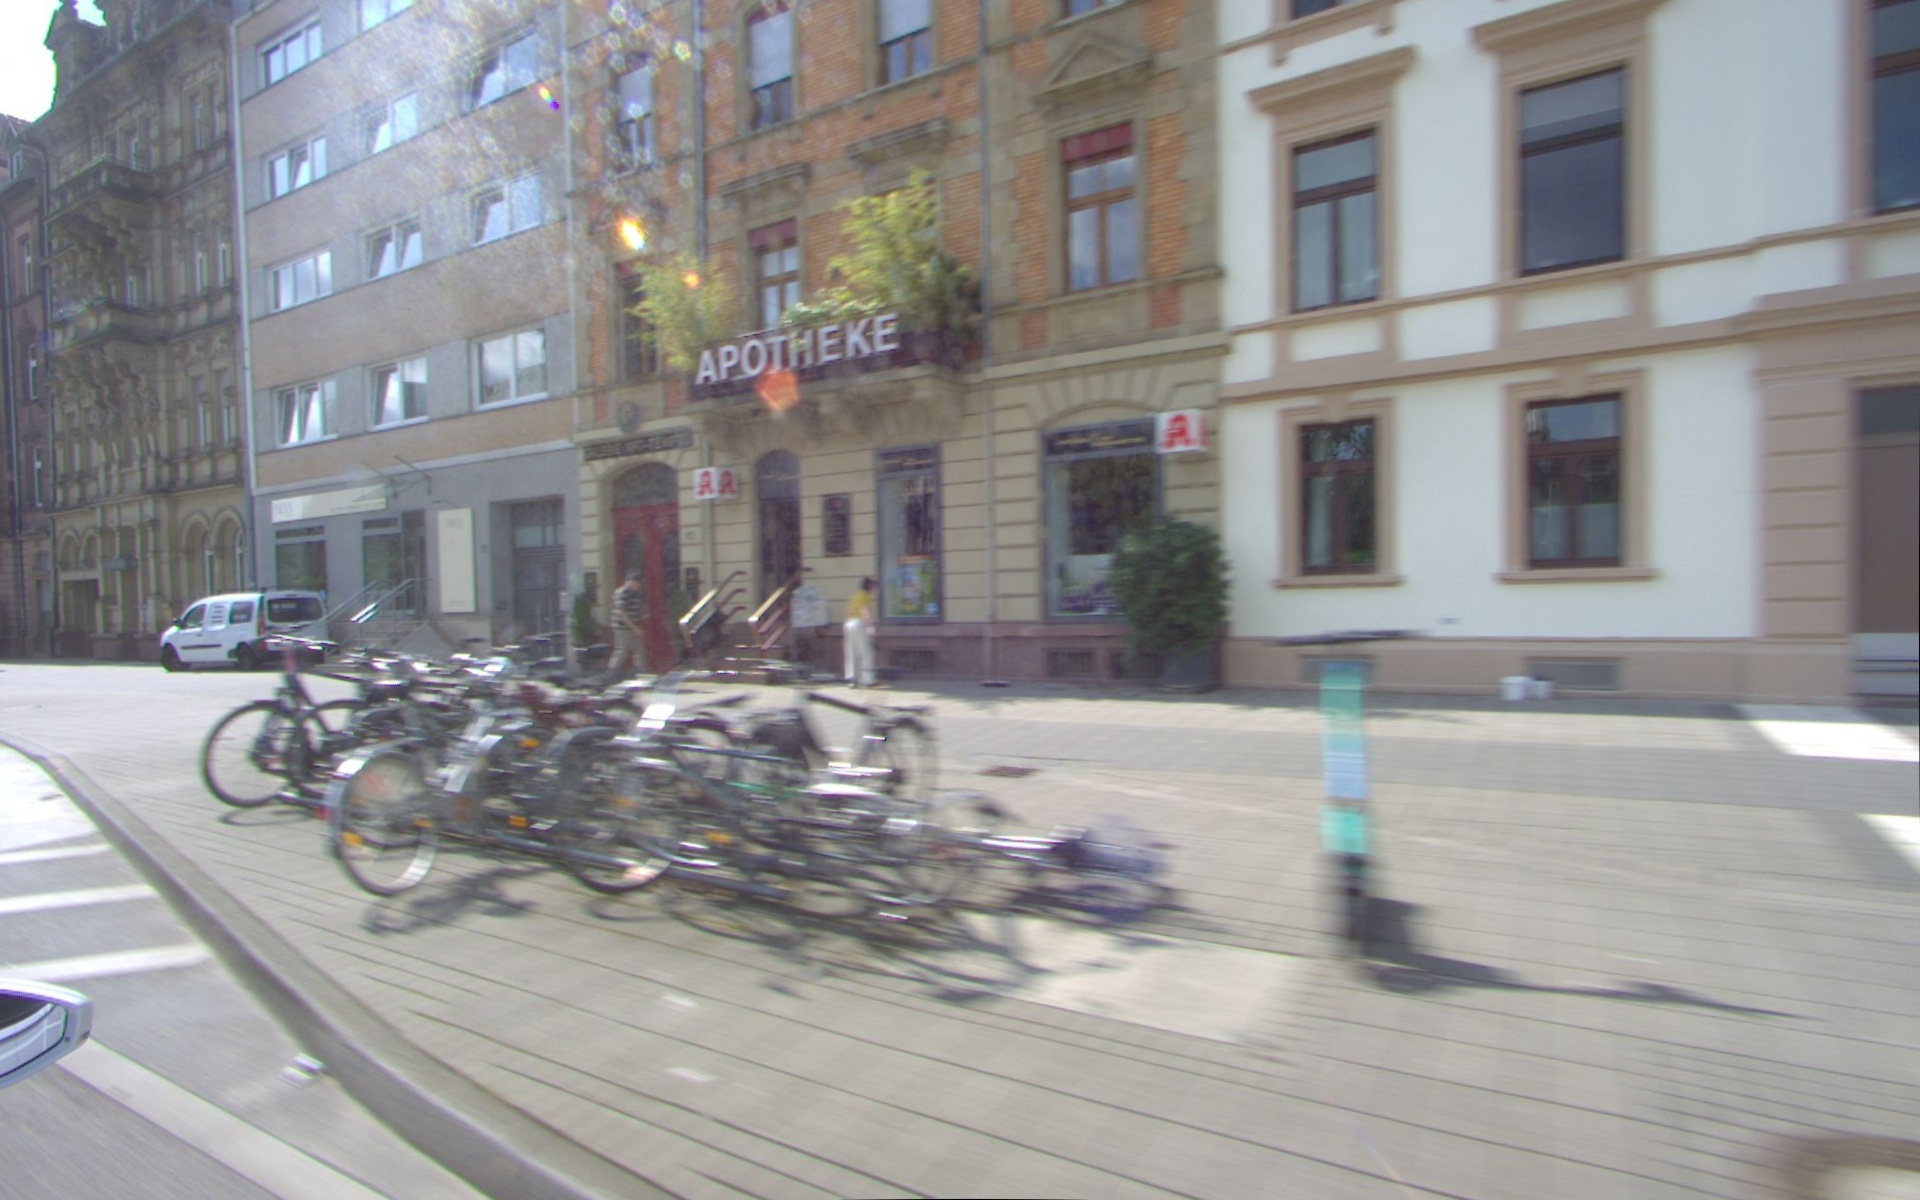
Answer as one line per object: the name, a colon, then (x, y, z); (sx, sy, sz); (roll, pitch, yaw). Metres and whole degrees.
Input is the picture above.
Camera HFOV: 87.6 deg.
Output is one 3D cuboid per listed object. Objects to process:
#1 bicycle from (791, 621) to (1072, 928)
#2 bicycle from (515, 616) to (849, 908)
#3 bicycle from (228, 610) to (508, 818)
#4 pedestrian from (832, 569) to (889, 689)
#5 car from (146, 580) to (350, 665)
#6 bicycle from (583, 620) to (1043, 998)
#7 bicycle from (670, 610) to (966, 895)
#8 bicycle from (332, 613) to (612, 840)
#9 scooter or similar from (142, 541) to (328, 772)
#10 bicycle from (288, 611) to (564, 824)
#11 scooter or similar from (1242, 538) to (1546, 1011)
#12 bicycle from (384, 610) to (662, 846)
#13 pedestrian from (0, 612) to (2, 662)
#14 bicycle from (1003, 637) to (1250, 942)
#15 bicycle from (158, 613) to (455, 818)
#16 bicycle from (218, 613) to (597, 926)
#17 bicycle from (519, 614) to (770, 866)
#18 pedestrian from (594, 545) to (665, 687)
bicycle: (-0.057, 0.769, 5.205); (0.435, 1.254, 1.919); (2, 2, 33)
bicycle: (-1.381, 0.737, 5.376); (0.435, 1.254, 1.919); (2, 2, 33)
bicycle: (-4.179, 0.728, 7.271); (0.433, 1.254, 1.926); (2, 2, 19)
pedestrian: (-1.477, 0.412, 14.869); (0.603, 1.721, 0.577); (2, 2, 32)
car: (-17.210, 0.556, 24.183); (4.677, 1.887, 1.993); (-2, 0, 26)
bicycle: (-0.646, 0.746, 4.081); (1.898, 1.254, 0.440); (2, 2, 24)
bicycle: (-0.677, 0.704, 5.465); (0.435, 1.254, 1.919); (2, 2, 33)
bicycle: (-3.169, 0.746, 6.743); (0.433, 1.254, 1.925); (2, 2, 21)
scooter or similar: (-6.006, 0.456, 8.289); (1.510, 1.810, 0.397); (-1, 1, 19)
bicycle: (-3.686, 0.734, 7.121); (0.433, 1.254, 1.925); (2, 2, 21)
scooter or similar: (2.027, 0.568, 4.436); (0.688, 1.567, 2.316); (2, 2, 36)
bicycle: (-2.726, 0.719, 6.499); (0.433, 1.254, 1.925); (2, 2, 21)
pedestrian: (-27.327, 0.808, 27.904); (0.683, 1.861, 0.662); (-1, 1, 25)
bicycle: (0.893, 0.785, 4.874); (0.435, 1.118, 1.919); (2, 2, 33)
bicycle: (-4.700, 0.755, 7.402); (0.433, 1.254, 1.980); (2, 2, 20)
bicycle: (-2.681, 0.722, 5.154); (0.433, 1.254, 1.926); (2, 2, 18)
bicycle: (-1.844, 0.743, 6.183); (0.433, 1.254, 1.926); (2, 2, 18)
pedestrian: (-5.131, 0.232, 15.550); (0.774, 2.128, 0.719); (2, 2, 32)
